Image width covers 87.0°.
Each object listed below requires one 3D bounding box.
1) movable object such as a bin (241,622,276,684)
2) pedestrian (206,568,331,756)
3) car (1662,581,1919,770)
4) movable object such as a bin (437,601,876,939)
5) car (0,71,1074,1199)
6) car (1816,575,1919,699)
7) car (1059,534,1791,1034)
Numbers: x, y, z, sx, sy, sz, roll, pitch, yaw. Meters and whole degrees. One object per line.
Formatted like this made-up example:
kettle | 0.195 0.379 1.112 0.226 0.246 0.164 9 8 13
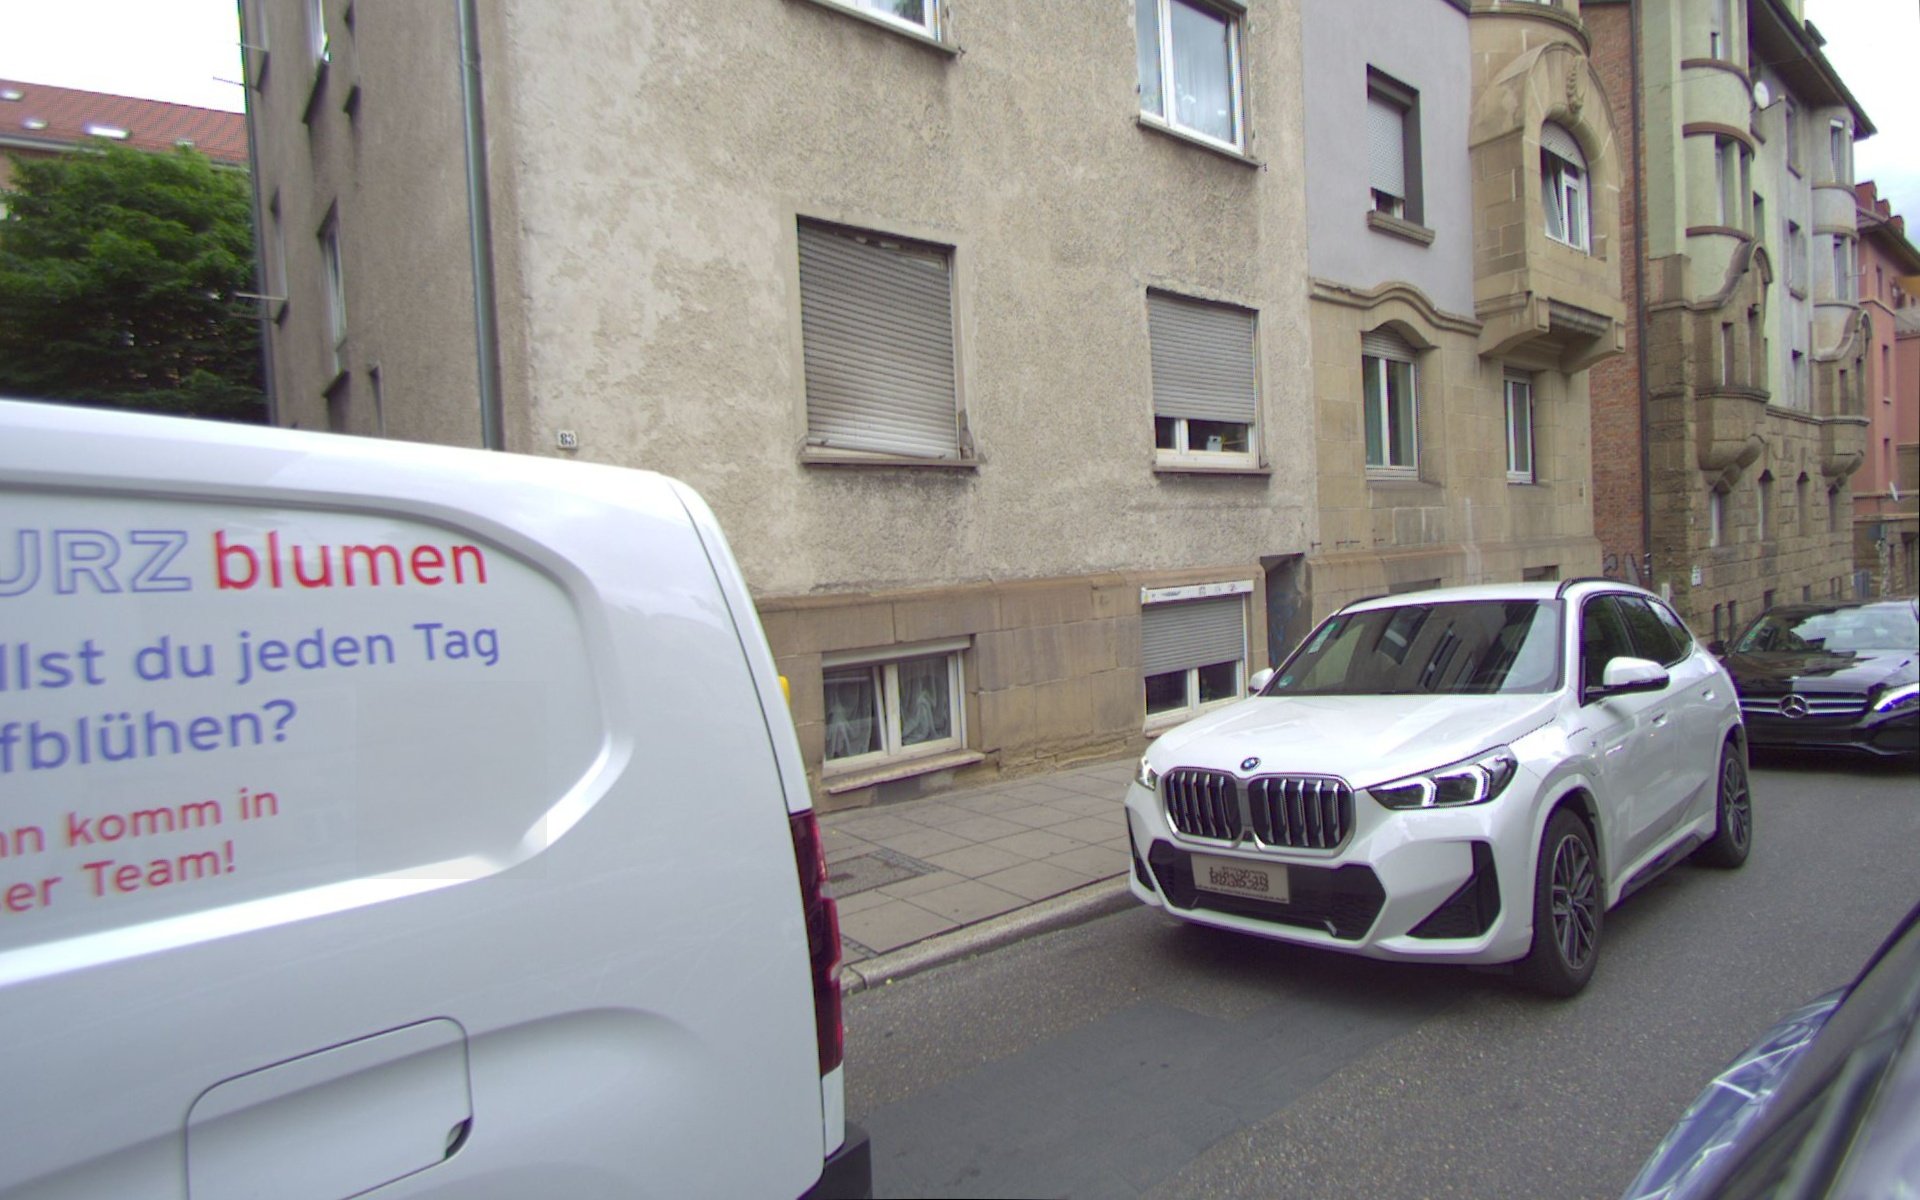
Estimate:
movable object such as a bin | -10.947 0.819 15.789 0.405 0.923 0.340 -2 1 -41
pedestrian | -6.727 0.554 9.842 0.771 1.665 0.810 -8 6 -39
car | 8.433 0.581 9.611 4.134 1.395 1.882 -2 -2 -41
movable object such as a bin | -1.614 0.749 5.569 1.980 1.391 1.223 -2 3 -43
car | -2.178 0.493 1.002 4.598 1.798 1.977 -2 -2 -43
car | 13.676 0.411 14.061 4.227 1.534 1.935 -2 -2 -40
car | 2.703 0.576 5.334 4.277 1.576 1.856 -2 -3 -42
